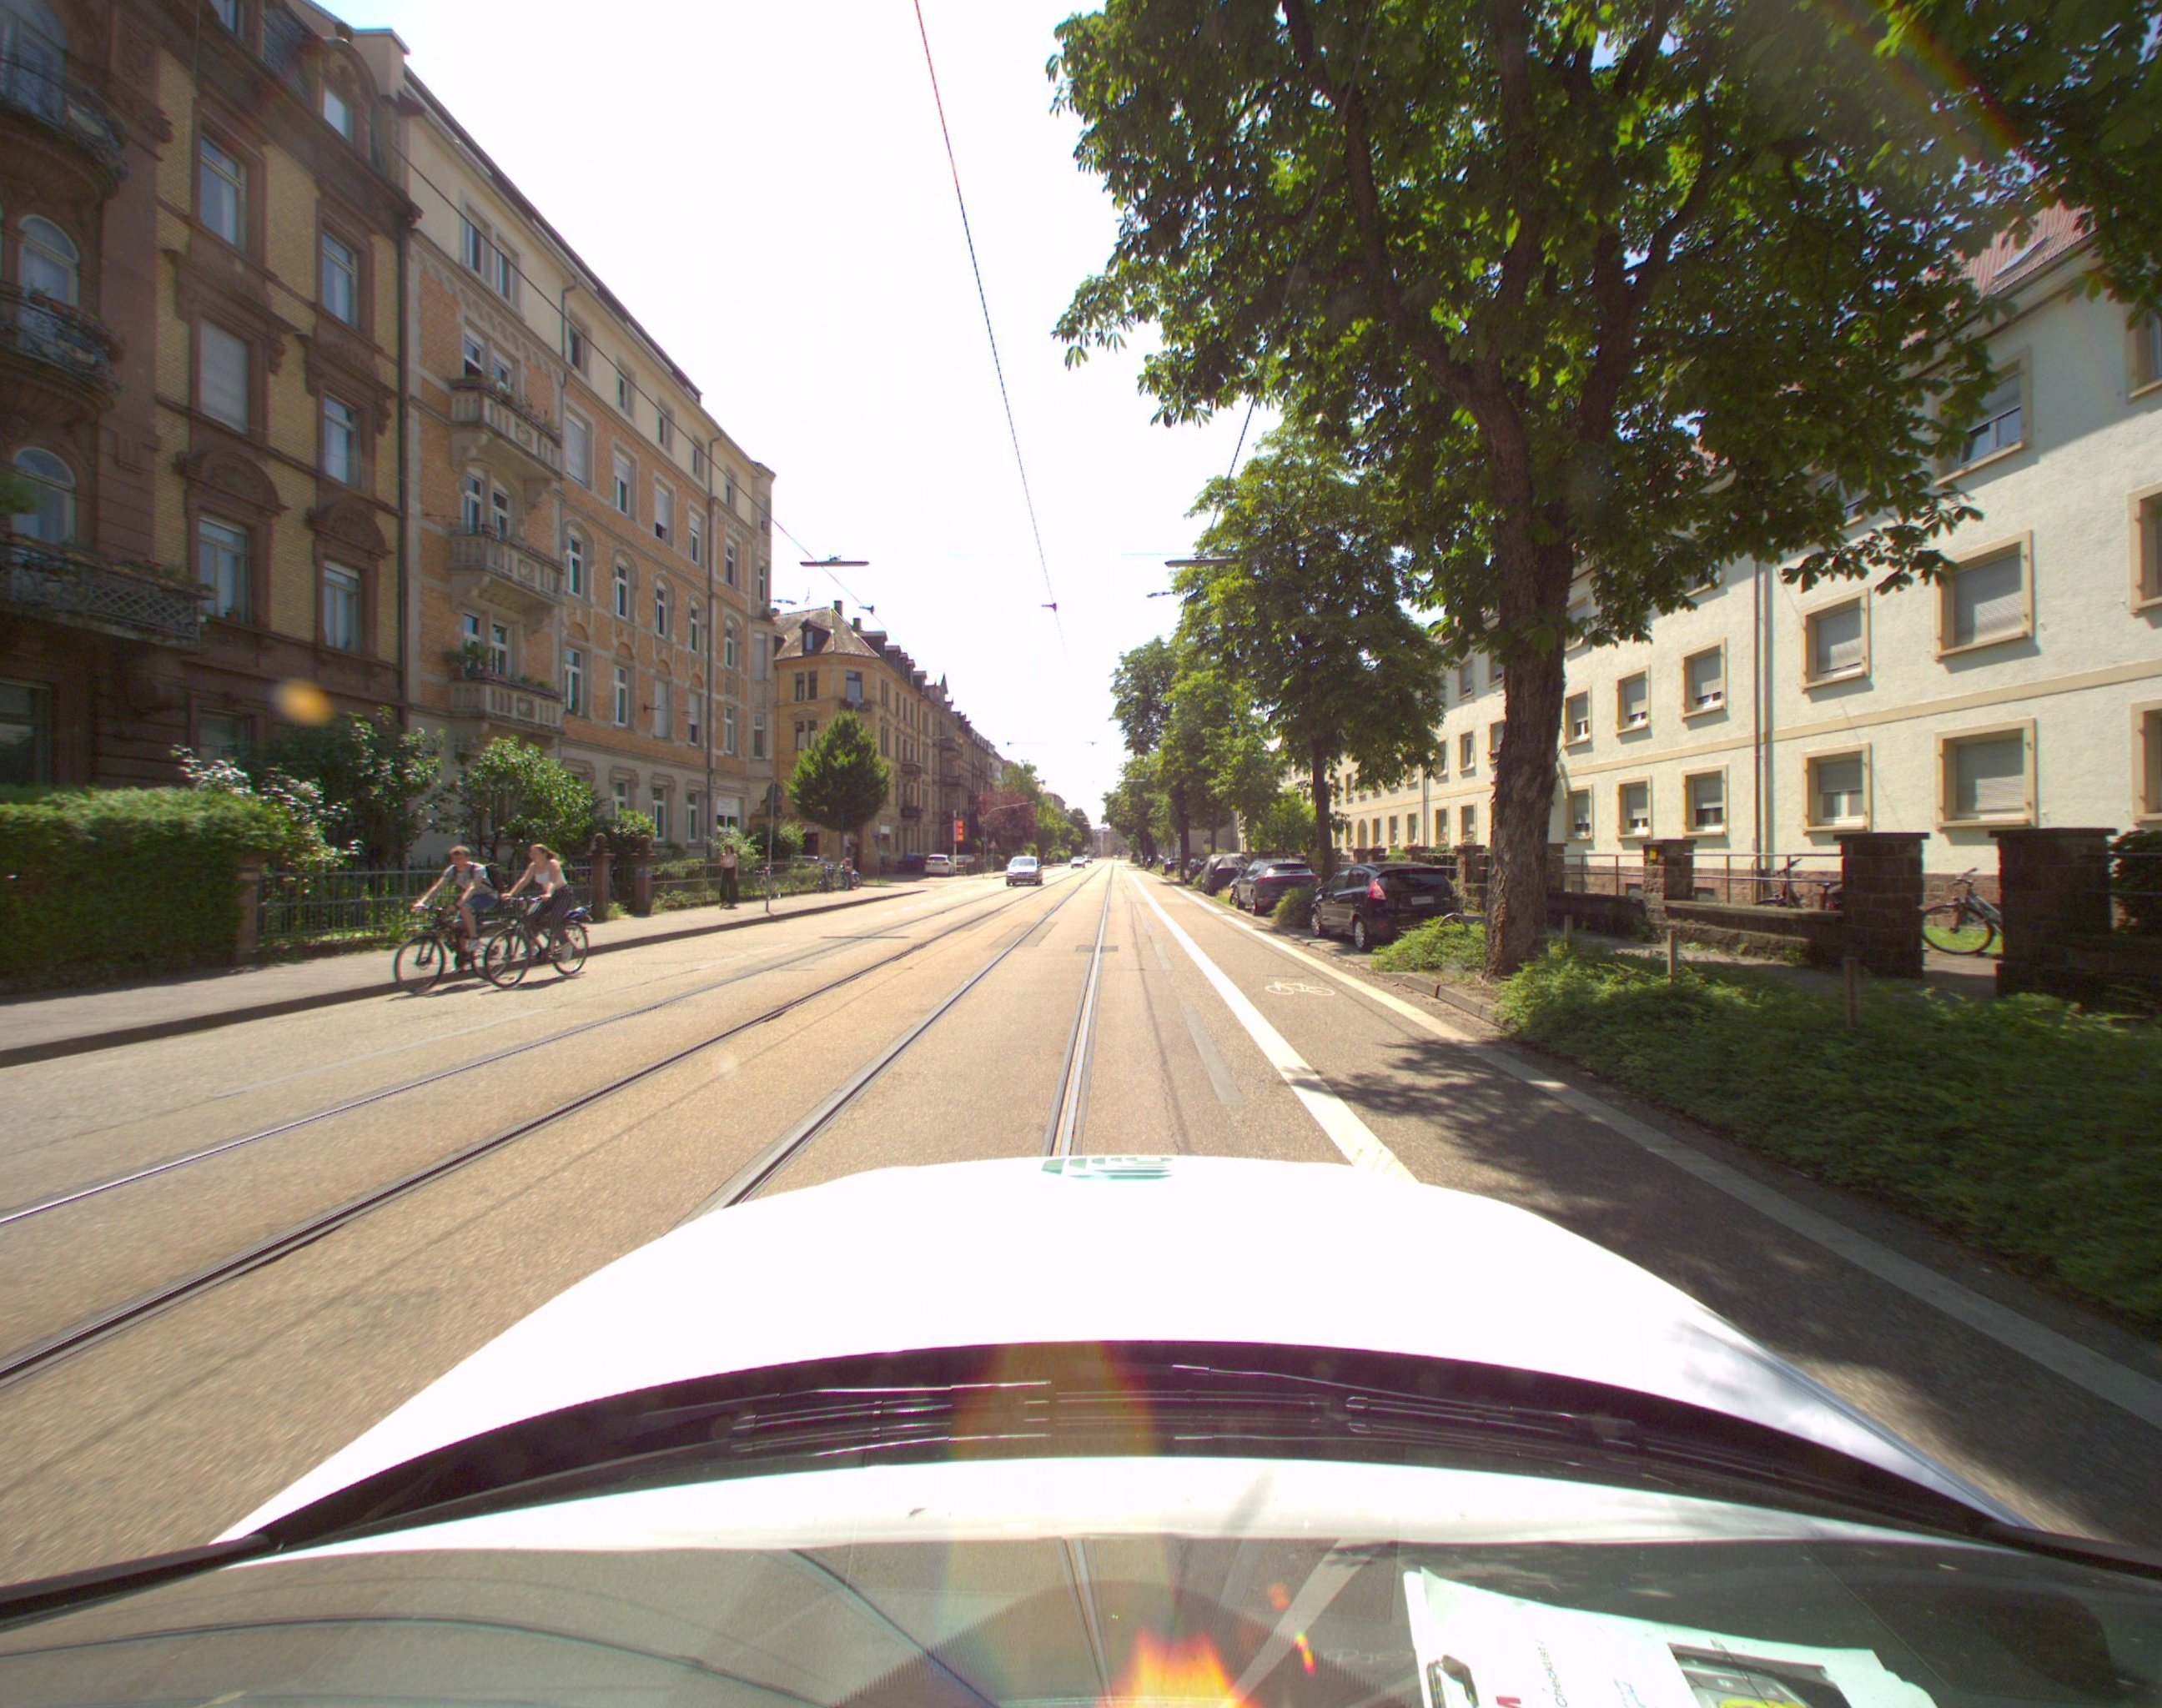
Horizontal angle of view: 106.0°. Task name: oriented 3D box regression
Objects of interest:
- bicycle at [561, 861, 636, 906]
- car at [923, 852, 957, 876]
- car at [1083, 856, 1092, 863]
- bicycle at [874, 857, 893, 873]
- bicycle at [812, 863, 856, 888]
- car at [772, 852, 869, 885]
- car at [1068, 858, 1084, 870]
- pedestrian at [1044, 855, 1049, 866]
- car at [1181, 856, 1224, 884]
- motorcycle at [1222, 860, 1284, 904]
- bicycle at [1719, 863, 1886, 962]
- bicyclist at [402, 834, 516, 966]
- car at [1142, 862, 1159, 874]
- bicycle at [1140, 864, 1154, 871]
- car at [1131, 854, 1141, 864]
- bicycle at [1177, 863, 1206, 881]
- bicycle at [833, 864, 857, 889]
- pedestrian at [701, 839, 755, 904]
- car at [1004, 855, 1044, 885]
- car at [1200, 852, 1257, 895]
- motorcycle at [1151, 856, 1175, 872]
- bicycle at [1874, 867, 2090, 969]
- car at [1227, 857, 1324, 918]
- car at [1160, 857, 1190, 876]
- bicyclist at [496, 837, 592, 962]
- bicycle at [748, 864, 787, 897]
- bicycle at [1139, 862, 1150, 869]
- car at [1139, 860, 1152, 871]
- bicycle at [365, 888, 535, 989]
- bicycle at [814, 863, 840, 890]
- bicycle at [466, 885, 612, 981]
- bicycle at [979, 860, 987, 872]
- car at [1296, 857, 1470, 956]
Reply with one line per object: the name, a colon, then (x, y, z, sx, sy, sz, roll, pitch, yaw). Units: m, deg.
bicycle: (-11.562, 0.695, 19.524, 1.503, 1.043, 0.495, 1, -1, 3)
car: (-10.243, 0.704, 59.532, 1.861, 1.600, 4.097, 2, -1, -3)
car: (1.398, 1.104, 164.095, 1.680, 1.454, 3.750, 1, -1, 2)
bicycle: (-14.293, 0.790, 59.051, 0.635, 1.187, 2.147, 1, 0, 5)
bicycle: (-10.550, 0.907, 34.847, 1.696, 1.037, 0.552, 1, -1, 6)
car: (-11.763, 0.661, 36.904, 3.745, 1.428, 1.714, 1, -2, 2)
car: (-0.643, 1.257, 103.151, 1.749, 1.424, 4.003, 0, -1, 3)
pedestrian: (-5.251, 0.952, 122.642, 0.749, 1.629, 0.832, 1, -1, -4)
car: (6.523, 0.827, 44.219, 1.689, 1.419, 4.356, 0, 0, 0)
motorcycle: (5.723, 0.939, 27.172, 1.911, 1.433, 0.670, 1, -1, -7)
bicycle: (9.876, 0.747, 11.264, 0.594, 1.209, 1.971, -2, 0, 2)
bicyclist: (-7.867, 0.557, 10.341, 0.631, 1.584, 1.029, 0, -1, 2)
car: (8.545, 1.713, 100.510, 1.767, 1.501, 4.306, -1, 0, 1)
bicycle: (9.235, 1.905, 114.473, 1.878, 1.052, 0.539, 0, -1, 9)
car: (11.751, 0.978, 173.483, 1.985, 2.035, 4.699, 0, 0, 2)
bicycle: (6.599, 1.060, 48.793, 1.650, 1.078, 0.605, 0, -1, -6)
bicycle: (-9.693, 0.897, 33.442, 0.437, 0.983, 1.711, 1, 0, 1)
pedestrian: (-9.780, 0.477, 22.584, 0.848, 1.723, 1.139, 3, 0, 3)
car: (-2.905, 0.806, 42.453, 1.678, 1.449, 4.002, 0, 0, 2)
car: (6.097, 0.769, 34.235, 1.938, 1.651, 4.887, 0, 0, 5)
motorcycle: (7.955, 0.990, 78.975, 2.292, 1.540, 0.874, 1, -1, 45)
bicycle: (11.353, 0.754, 10.377, 0.594, 1.126, 1.971, -3, -1, 3)
car: (5.443, 0.871, 23.331, 1.727, 1.552, 4.453, 0, 0, 0)
car: (7.262, 0.949, 63.460, 1.763, 1.427, 4.861, 0, 0, 0)
bicyclist: (-6.948, 0.572, 10.575, 0.590, 1.544, 0.952, 0, -1, 2)
bicycle: (-10.082, 0.838, 26.262, 0.495, 0.987, 1.711, 5, 0, 1)
bicycle: (10.043, 1.764, 128.770, 1.809, 1.113, 0.493, 0, -2, 1)
car: (9.434, 1.664, 119.289, 1.615, 1.448, 3.811, -2, -1, 2)
bicycle: (-7.864, 1.011, 10.275, 0.626, 1.078, 1.876, 0, 0, 2)
bicycle: (-9.789, 0.866, 31.402, 0.437, 0.983, 1.711, 1, 0, 1)
bicycle: (-6.943, 0.968, 10.557, 0.579, 1.078, 1.891, 0, 0, 2)
bicycle: (-8.273, 0.989, 68.538, 0.452, 1.003, 1.805, 1, -1, -1)
car: (5.250, 0.829, 14.728, 1.651, 1.515, 3.999, 1, 0, -1)
